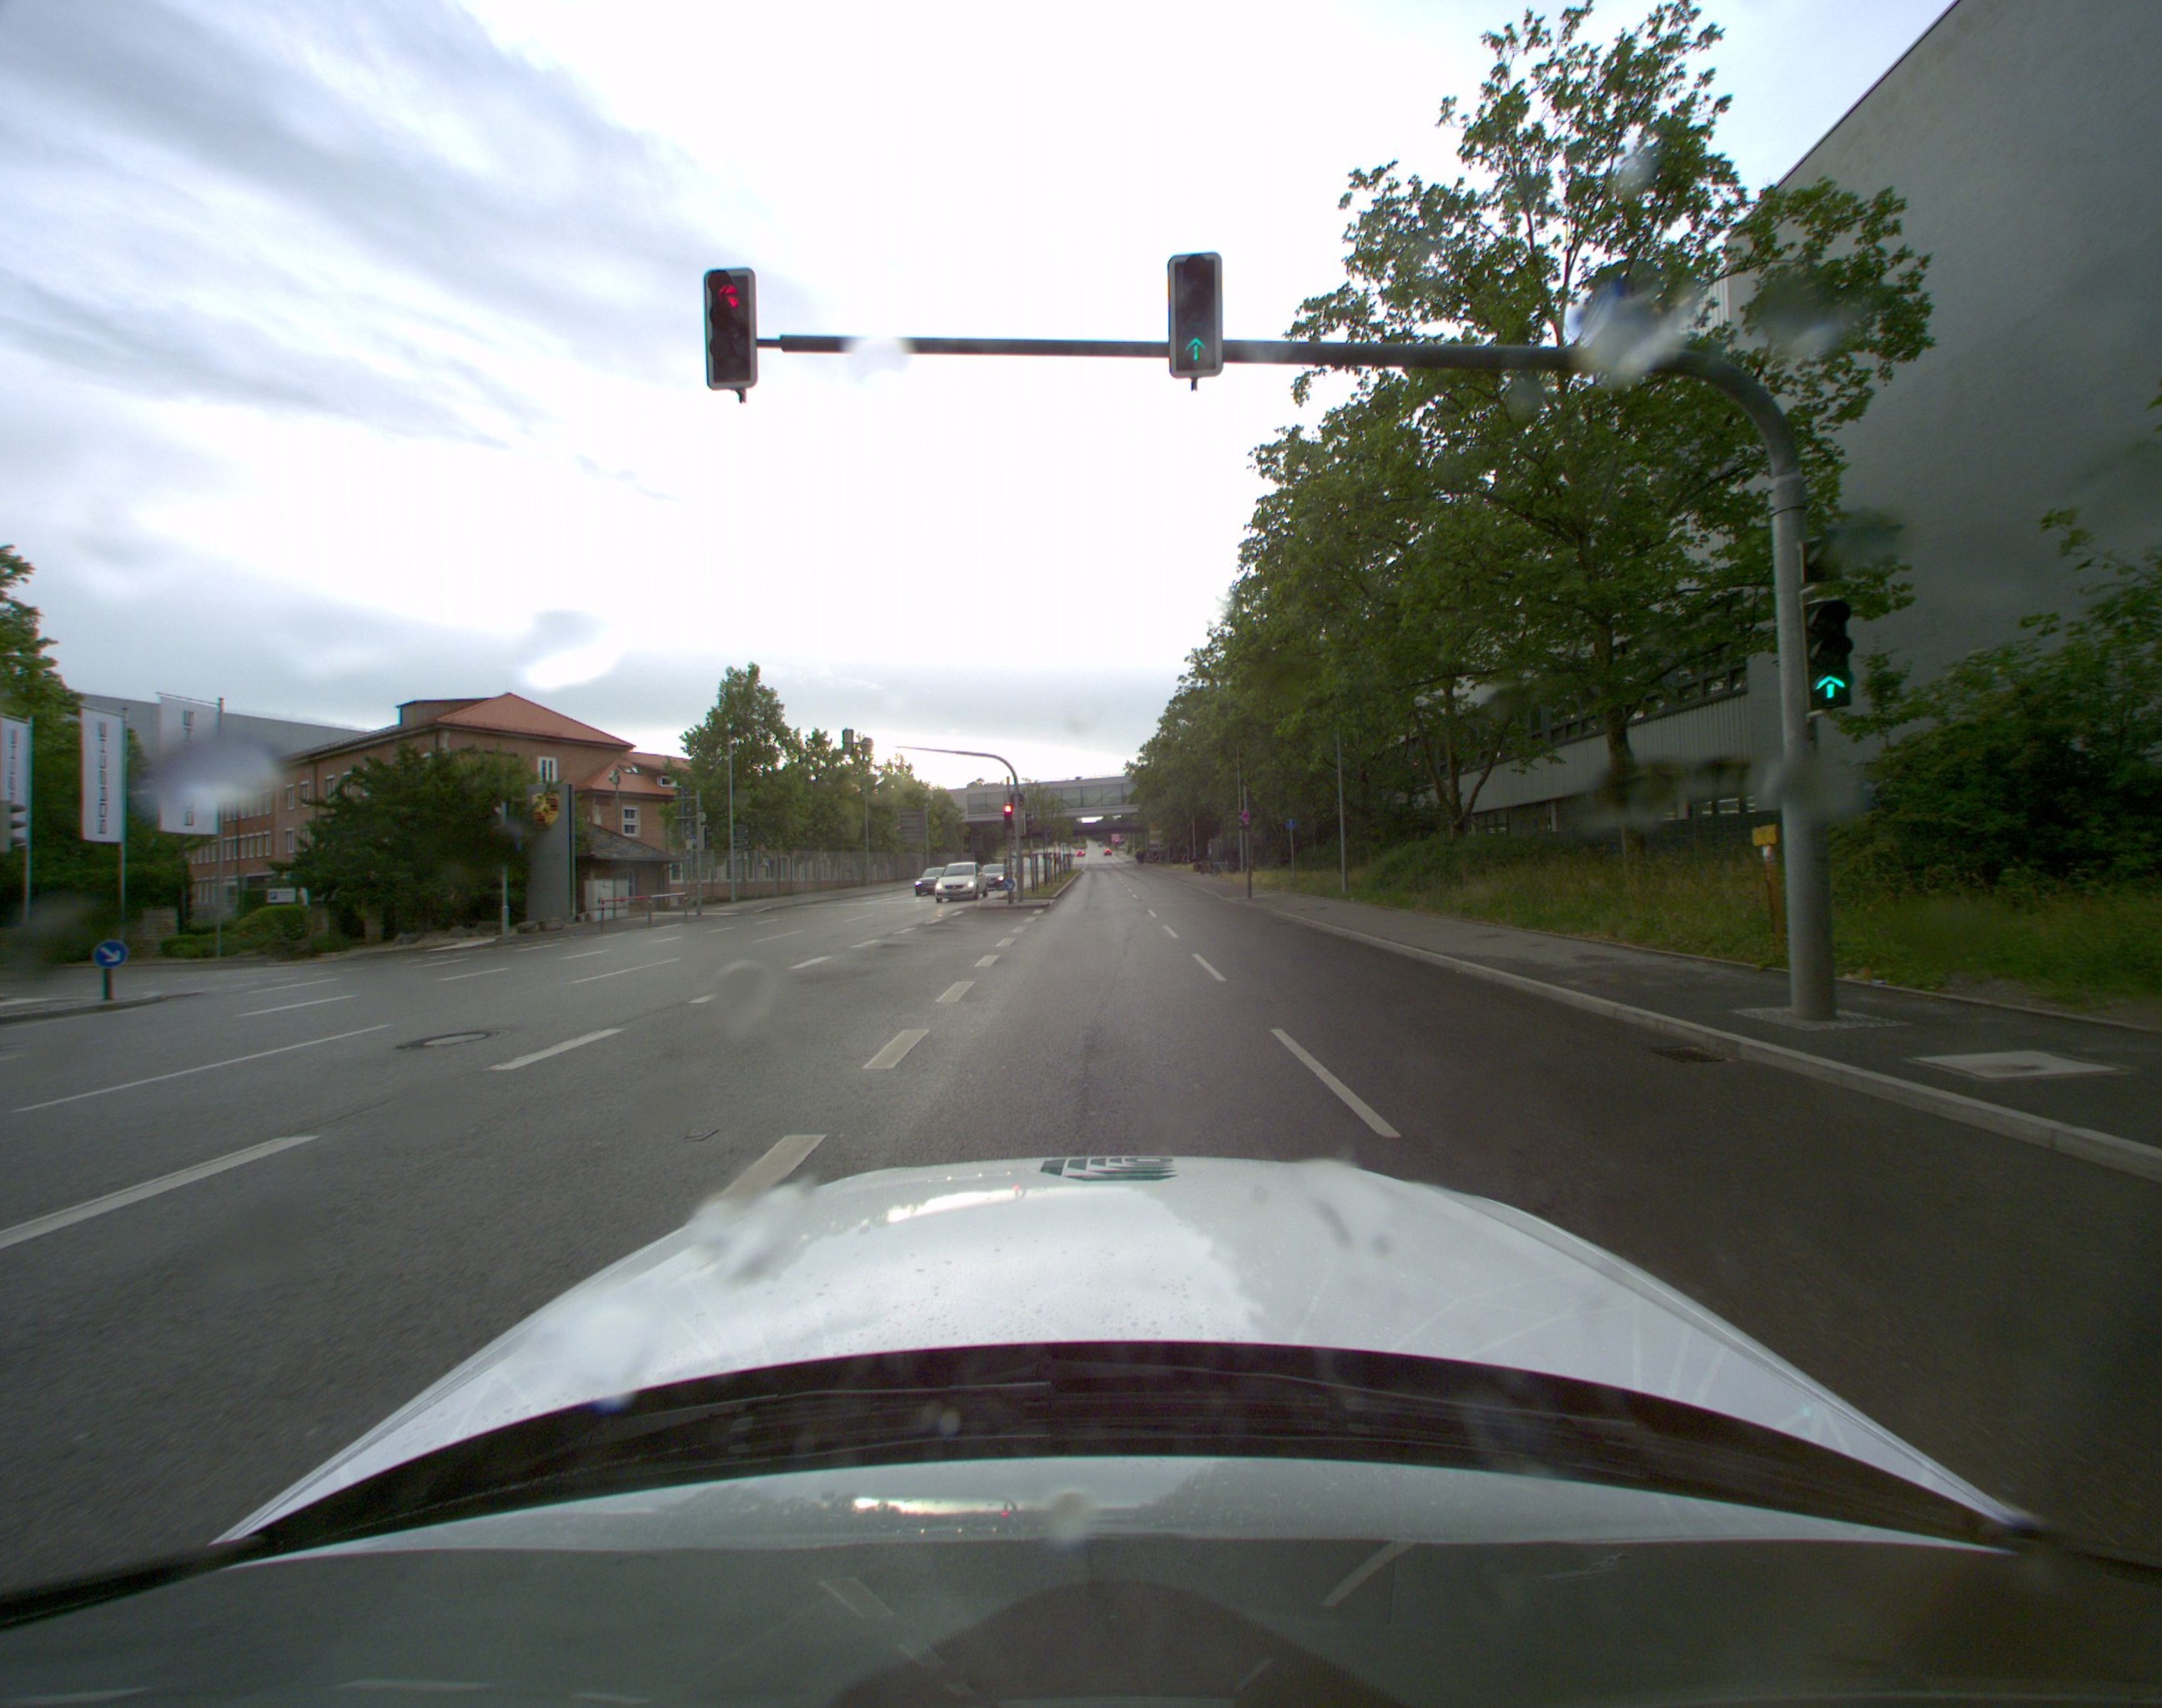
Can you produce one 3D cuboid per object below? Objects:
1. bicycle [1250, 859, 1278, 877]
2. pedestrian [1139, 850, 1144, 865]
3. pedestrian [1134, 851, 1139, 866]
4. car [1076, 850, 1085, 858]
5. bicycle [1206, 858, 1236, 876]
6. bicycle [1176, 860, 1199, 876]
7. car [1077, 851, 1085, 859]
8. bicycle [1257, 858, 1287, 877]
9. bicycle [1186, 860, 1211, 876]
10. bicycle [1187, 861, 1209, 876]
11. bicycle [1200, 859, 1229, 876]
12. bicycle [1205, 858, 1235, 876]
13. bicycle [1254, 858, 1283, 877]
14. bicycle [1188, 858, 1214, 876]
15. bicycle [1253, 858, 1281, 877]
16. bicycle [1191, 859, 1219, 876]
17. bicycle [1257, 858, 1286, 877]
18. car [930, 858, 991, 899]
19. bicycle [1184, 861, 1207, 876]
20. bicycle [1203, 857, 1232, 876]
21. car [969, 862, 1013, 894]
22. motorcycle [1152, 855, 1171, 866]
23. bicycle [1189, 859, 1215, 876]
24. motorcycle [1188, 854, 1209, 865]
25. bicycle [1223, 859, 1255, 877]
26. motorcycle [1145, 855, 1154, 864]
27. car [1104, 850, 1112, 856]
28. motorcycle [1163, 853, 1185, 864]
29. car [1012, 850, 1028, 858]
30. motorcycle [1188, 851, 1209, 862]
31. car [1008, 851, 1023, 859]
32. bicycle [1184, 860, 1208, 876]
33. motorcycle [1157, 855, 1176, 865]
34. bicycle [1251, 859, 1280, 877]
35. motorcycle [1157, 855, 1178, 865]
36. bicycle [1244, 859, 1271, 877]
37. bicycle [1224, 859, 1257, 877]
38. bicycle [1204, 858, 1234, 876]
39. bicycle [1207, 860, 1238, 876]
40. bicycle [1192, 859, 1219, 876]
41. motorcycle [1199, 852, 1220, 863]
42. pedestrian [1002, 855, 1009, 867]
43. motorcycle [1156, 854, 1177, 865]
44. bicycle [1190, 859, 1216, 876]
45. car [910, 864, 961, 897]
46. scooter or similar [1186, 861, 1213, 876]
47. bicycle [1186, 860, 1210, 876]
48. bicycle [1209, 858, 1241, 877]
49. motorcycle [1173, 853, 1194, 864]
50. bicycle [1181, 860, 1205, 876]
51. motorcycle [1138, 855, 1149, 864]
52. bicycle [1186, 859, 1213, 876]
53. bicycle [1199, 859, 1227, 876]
[{"bbox_3d":[13.701,1.030,60.991,1.982,1.329,0.576,0,-2,2],"label":"bicycle"},{"bbox_3d":[8.437,0.509,113.325,0.619,2.014,0.606,-3,-1,2],"label":"pedestrian"},{"bbox_3d":[7.725,0.620,113.517,0.619,2.014,0.606,-3,-1,2],"label":"pedestrian"},{"bbox_3d":[-0.083,0.012,204.178,1.986,1.762,4.001,0,-1,2],"label":"car"},{"bbox_3d":[9.499,0.901,55.267,1.982,1.233,0.541,0,-2,2],"label":"bicycle"},{"bbox_3d":[9.279,1.237,70.743,1.955,1.329,0.654,0,-2,2],"label":"bicycle"},{"bbox_3d":[0.068,0.287,208.702,1.877,1.762,3.970,0,-1,2],"label":"car"},{"bbox_3d":[13.374,0.927,56.924,1.982,1.329,0.576,0,-2,2],"label":"bicycle"},{"bbox_3d":[9.531,1.140,66.292,1.982,1.329,0.576,0,-2,2],"label":"bicycle"},{"bbox_3d":[10.503,1.300,73.021,1.955,1.329,0.654,0,-2,2],"label":"bicycle"},{"bbox_3d":[9.505,0.965,58.010,1.982,1.242,0.541,0,-2,2],"label":"bicycle"},{"bbox_3d":[9.532,0.912,55.862,1.982,1.242,0.541,0,-2,2],"label":"bicycle"},{"bbox_3d":[13.612,0.981,59.011,1.982,1.329,0.576,0,-2,2],"label":"bicycle"},{"bbox_3d":[9.507,1.038,64.728,1.982,1.430,0.723,0,-2,2],"label":"bicycle"},{"bbox_3d":[13.634,0.997,59.675,1.982,1.329,0.576,0,-2,2],"label":"bicycle"},{"bbox_3d":[9.179,1.021,60.341,1.982,1.242,0.541,0,-2,2],"label":"bicycle"},{"bbox_3d":[13.606,0.962,58.247,1.982,1.329,0.576,0,-2,2],"label":"bicycle"},{"bbox_3d":[-5.130,1.013,35.067,1.870,1.624,3.780,-3,-1,2],"label":"car"},{"bbox_3d":[10.041,1.261,71.527,1.955,1.329,0.654,0,-2,2],"label":"bicycle"},{"bbox_3d":[9.578,0.882,57.317,1.982,1.340,0.541,0,-2,2],"label":"bicycle"},{"bbox_3d":[-5.001,1.298,45.642,1.870,1.624,3.780,-3,-1,2],"label":"car"},{"bbox_3d":[10.106,0.800,102.151,2.355,1.202,0.724,-3,-1,9],"label":"motorcycle"},{"bbox_3d":[9.472,1.082,63.994,1.982,1.329,0.576,0,-2,2],"label":"bicycle"},{"bbox_3d":[14.085,0.606,97.605,2.355,1.202,0.724,-3,-1,9],"label":"motorcycle"},{"bbox_3d":[9.995,0.881,51.577,1.982,1.095,0.541,0,-2,2],"label":"bicycle"},{"bbox_3d":[9.996,0.838,119.504,0.789,1.311,2.371,-3,-1,-7],"label":"motorcycle"},{"bbox_3d":[6.654,-0.202,200.517,1.868,1.497,4.069,0,-1,2],"label":"car"},{"bbox_3d":[10.452,0.517,91.640,2.355,1.202,0.724,-3,-1,9],"label":"motorcycle"},{"bbox_3d":[-15.109,0.059,201.240,2.011,2.014,3.952,2,-2,-42],"label":"car"},{"bbox_3d":[14.207,0.317,98.417,2.355,1.202,0.724,-3,-1,9],"label":"motorcycle"},{"bbox_3d":[-17.519,0.381,217.096,2.011,2.014,3.952,2,-2,-42],"label":"car"},{"bbox_3d":[9.647,1.176,68.217,1.955,1.329,0.654,0,-2,2],"label":"bicycle"},{"bbox_3d":[11.094,0.805,105.401,2.355,1.202,0.795,-3,-1,9],"label":"motorcycle"},{"bbox_3d":[13.669,1.014,60.323,1.982,1.329,0.576,0,-2,2],"label":"bicycle"},{"bbox_3d":[10.479,0.730,98.722,2.355,1.202,0.724,-3,-1,9],"label":"motorcycle"},{"bbox_3d":[13.694,1.083,63.121,1.982,1.329,0.576,0,-2,2],"label":"bicycle"},{"bbox_3d":[9.976,0.867,51.008,1.982,1.095,0.541,0,-2,2],"label":"bicycle"},{"bbox_3d":[9.566,0.930,56.604,1.982,1.242,0.541,0,-2,2],"label":"bicycle"},{"bbox_3d":[9.492,0.946,54.656,1.982,1.095,0.541,0,-2,2],"label":"bicycle"},{"bbox_3d":[9.480,1.039,62.241,1.982,1.329,0.576,0,-2,2],"label":"bicycle"},{"bbox_3d":[15.107,0.431,96.011,2.355,1.202,0.724,-3,-1,9],"label":"motorcycle"},{"bbox_3d":[-12.811,1.221,137.582,0.876,2.005,0.848,3,-3,-24],"label":"pedestrian"},{"bbox_3d":[10.185,0.700,96.956,2.355,1.202,0.724,-3,-1,9],"label":"motorcycle"},{"bbox_3d":[9.835,1.111,65.574,1.982,1.329,0.576,0,-2,2],"label":"bicycle"},{"bbox_3d":[-7.844,1.389,44.157,1.870,1.624,3.780,-3,-1,2],"label":"car"},{"bbox_3d":[8.909,1.077,61.139,1.982,1.138,0.541,0,-2,2],"label":"scooter or similar"},{"bbox_3d":[9.711,1.159,67.526,1.953,1.329,0.576,0,-2,2],"label":"bicycle"},{"bbox_3d":[9.361,0.853,53.053,1.982,1.216,0.541,0,-2,2],"label":"bicycle"},{"bbox_3d":[11.850,0.523,93.951,2.355,1.202,0.724,-3,-1,9],"label":"motorcycle"},{"bbox_3d":[9.580,1.216,69.821,1.955,1.329,0.654,0,-2,2],"label":"bicycle"},{"bbox_3d":[9.446,0.869,122.693,0.792,1.311,2.363,-3,-1,-16],"label":"motorcycle"},{"bbox_3d":[9.183,1.057,63.057,1.982,1.329,0.576,0,-2,2],"label":"bicycle"},{"bbox_3d":[9.532,0.989,58.958,1.982,1.242,0.541,0,-2,2],"label":"bicycle"}]
